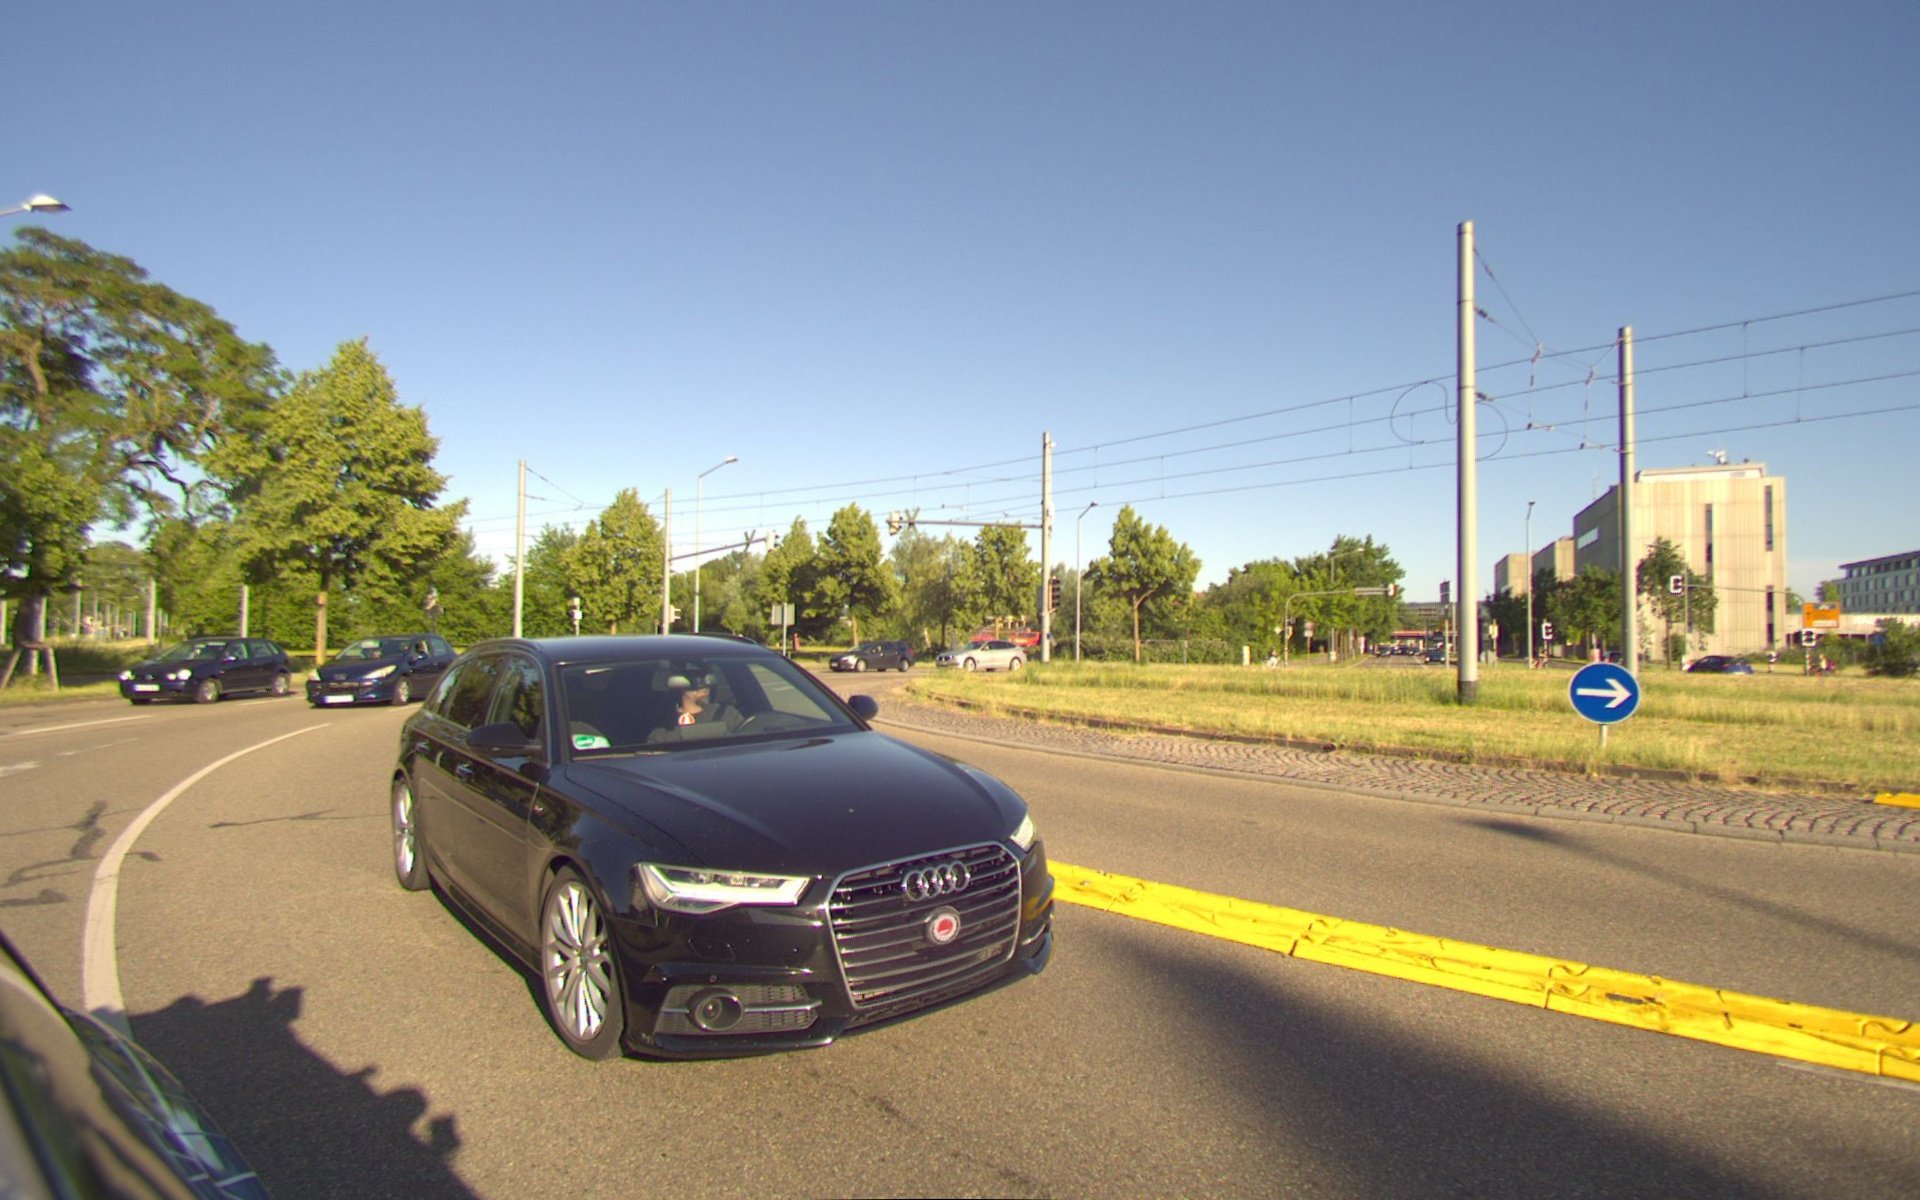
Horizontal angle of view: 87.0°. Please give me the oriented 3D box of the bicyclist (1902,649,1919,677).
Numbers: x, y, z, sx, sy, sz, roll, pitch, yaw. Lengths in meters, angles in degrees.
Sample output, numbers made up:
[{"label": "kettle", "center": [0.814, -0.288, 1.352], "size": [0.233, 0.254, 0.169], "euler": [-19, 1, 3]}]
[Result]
[{"label": "bicyclist", "center": [54.968, 3.623, 58.264], "size": [0.651, 1.592, 0.837], "euler": [1, -3, -15]}]

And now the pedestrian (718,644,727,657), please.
[{"label": "pedestrian", "center": [-26.954, 5.779, 114.821], "size": [0.679, 1.451, 0.792], "euler": [0, -3, 8]}]

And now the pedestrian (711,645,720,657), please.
[{"label": "pedestrian", "center": [-27.916, 5.818, 115.448], "size": [0.679, 1.451, 0.792], "euler": [0, -3, 8]}]

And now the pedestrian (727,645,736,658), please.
[{"label": "pedestrian", "center": [-26.028, 5.834, 115.231], "size": [0.765, 1.451, 0.792], "euler": [0, -3, 8]}]

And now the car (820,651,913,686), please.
[{"label": "car", "center": [-4.272, 3.129, 46.544], "size": [4.006, 1.390, 1.727], "euler": [0, -4, -42]}]

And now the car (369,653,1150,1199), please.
[{"label": "car", "center": [-1.567, 1.019, 5.036], "size": [1.769, 1.454, 5.027], "euler": [0, -3, -37]}]

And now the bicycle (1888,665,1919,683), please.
[{"label": "bicycle", "center": [54.987, 4.261, 58.253], "size": [0.651, 0.995, 2.268], "euler": [1, -3, -15]}]

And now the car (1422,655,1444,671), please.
[{"label": "car", "center": [48.148, 6.407, 103.107], "size": [1.946, 1.627, 3.886], "euler": [-2, -3, 24]}]

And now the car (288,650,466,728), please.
[{"label": "car", "center": [-12.353, 1.828, 21.751], "size": [1.732, 1.465, 4.003], "euler": [-1, -3, -4]}]

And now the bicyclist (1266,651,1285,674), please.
[{"label": "bicyclist", "center": [22.203, 4.415, 71.204], "size": [1.073, 1.574, 0.876], "euler": [1, -2, 1]}]

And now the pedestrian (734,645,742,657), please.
[{"label": "pedestrian", "center": [-25.265, 5.805, 115.248], "size": [0.654, 1.451, 0.792], "euler": [0, -3, 8]}]

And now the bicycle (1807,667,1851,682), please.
[{"label": "bicycle", "center": [51.799, 4.451, 60.314], "size": [1.882, 0.859, 0.611], "euler": [-2, -4, 31]}]

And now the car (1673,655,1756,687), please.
[{"label": "car", "center": [43.505, 4.065, 58.467], "size": [1.750, 1.799, 3.918], "euler": [0, -3, -1]}]

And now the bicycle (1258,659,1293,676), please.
[{"label": "bicycle", "center": [22.176, 4.747, 71.188], "size": [2.186, 1.164, 0.876], "euler": [1, -2, 2]}]

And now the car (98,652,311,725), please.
[{"label": "car", "center": [-17.302, 1.979, 23.508], "size": [1.615, 1.479, 4.546], "euler": [0, -2, -1]}]

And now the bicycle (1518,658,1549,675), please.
[{"label": "bicycle", "center": [37.827, 4.387, 66.740], "size": [1.640, 1.137, 0.701], "euler": [-1, -2, 15]}]

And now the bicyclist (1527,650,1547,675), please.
[{"label": "bicyclist", "center": [38.017, 4.111, 66.709], "size": [0.934, 1.676, 0.701], "euler": [-1, -2, 15]}]

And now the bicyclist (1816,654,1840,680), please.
[{"label": "bicyclist", "center": [51.753, 3.985, 60.364], "size": [0.922, 1.529, 0.611], "euler": [-2, -4, 31]}]

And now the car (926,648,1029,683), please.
[{"label": "car", "center": [0.823, 2.940, 45.940], "size": [4.466, 1.390, 1.940], "euler": [0, -3, -41]}]
